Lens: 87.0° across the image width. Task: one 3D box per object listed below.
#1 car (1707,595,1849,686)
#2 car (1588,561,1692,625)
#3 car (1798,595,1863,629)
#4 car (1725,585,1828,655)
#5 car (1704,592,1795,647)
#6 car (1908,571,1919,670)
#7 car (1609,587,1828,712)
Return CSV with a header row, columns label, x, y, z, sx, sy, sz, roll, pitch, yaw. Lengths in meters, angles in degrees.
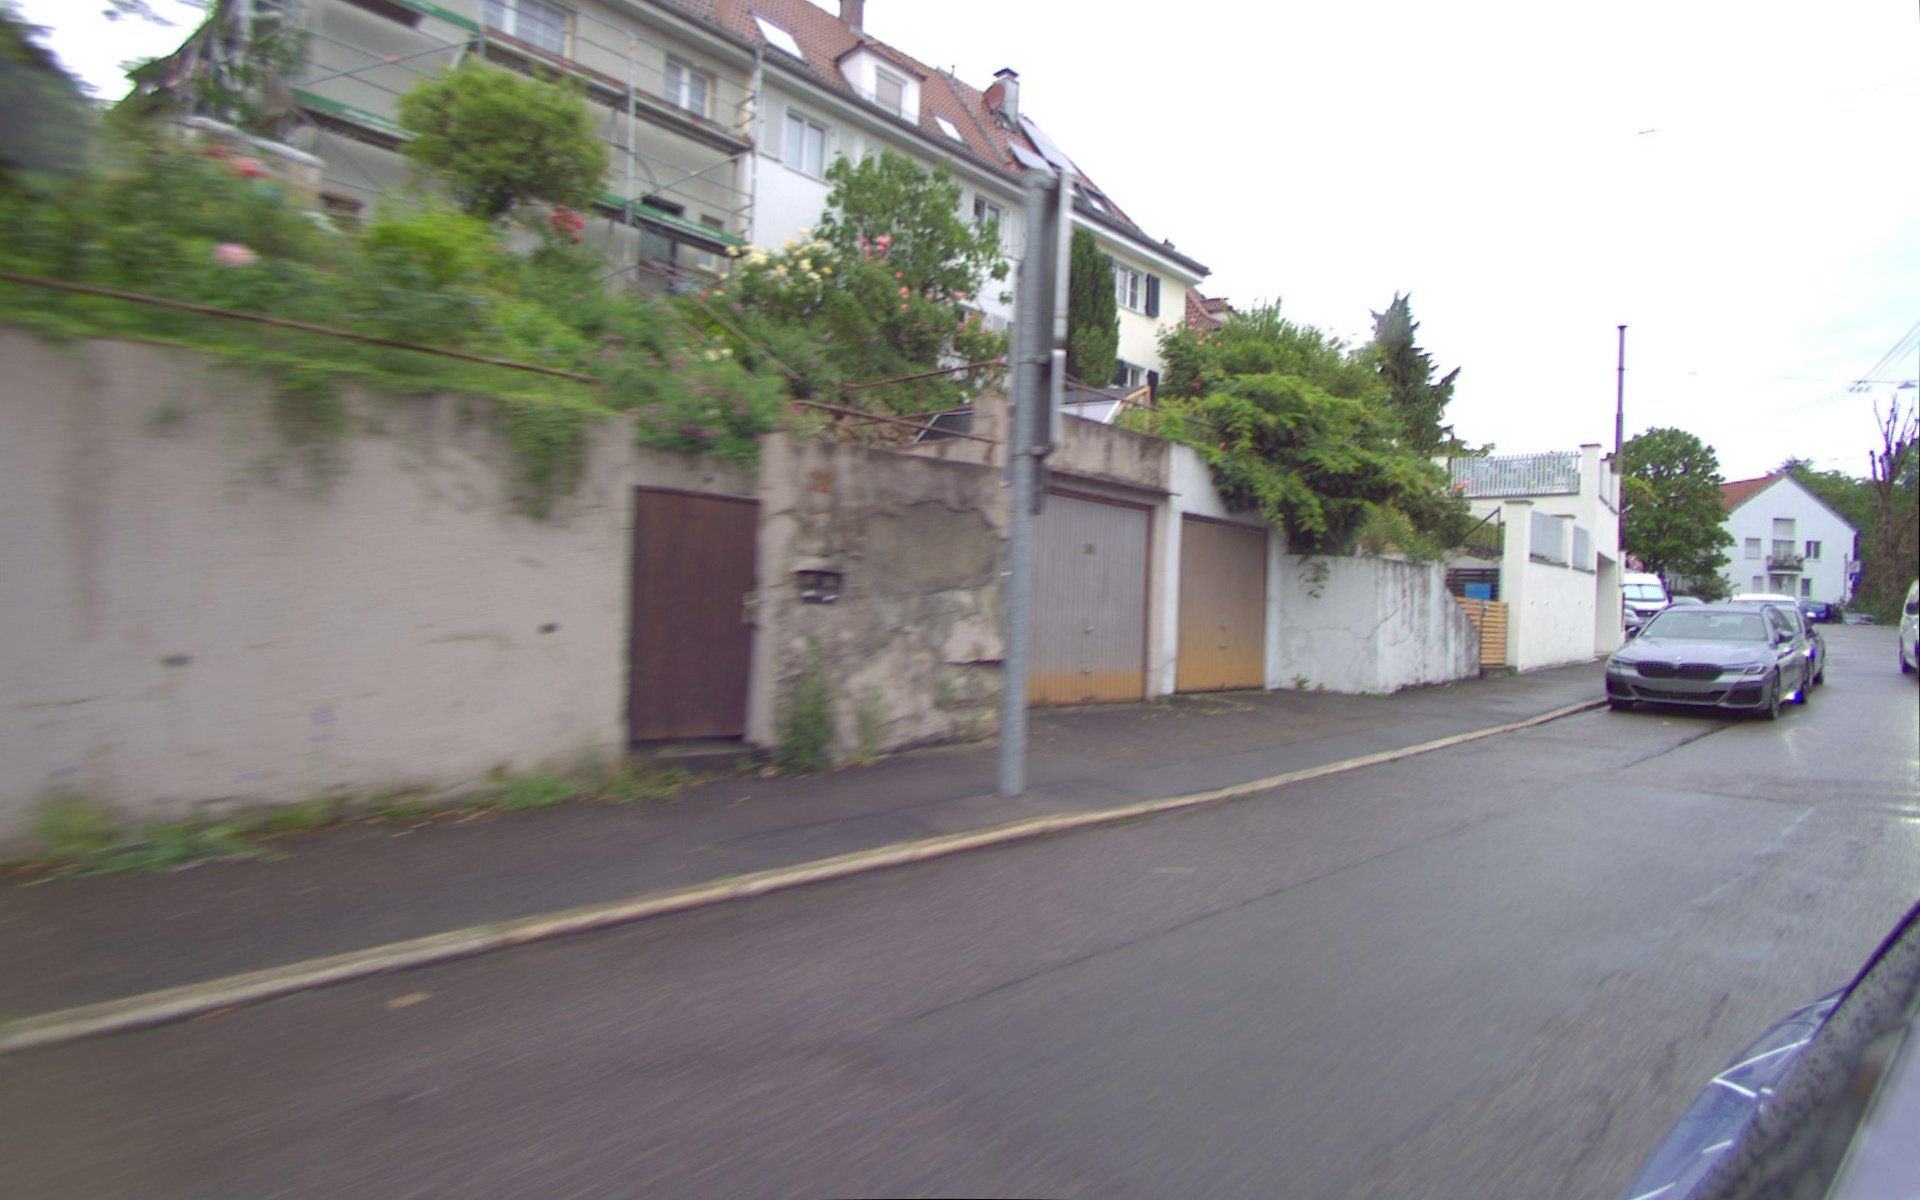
label,x,y,z,sx,sy,sz,roll,pitch,yaw
car,14.903,0.655,18.358,1.641,1.455,4.106,0,0,44
car,30.206,-0.390,45.181,2.077,2.573,5.592,3,3,16
car,48.877,0.664,56.823,3.869,1.685,1.843,-1,5,-36
car,21.169,0.453,26.382,1.798,1.670,4.157,1,1,35
car,24.202,0.543,31.154,1.670,1.502,4.156,0,1,31
car,19.407,0.384,18.926,2.032,1.964,4.451,-3,-2,39
car,10.986,0.566,14.519,4.627,1.515,1.791,-1,1,-44
